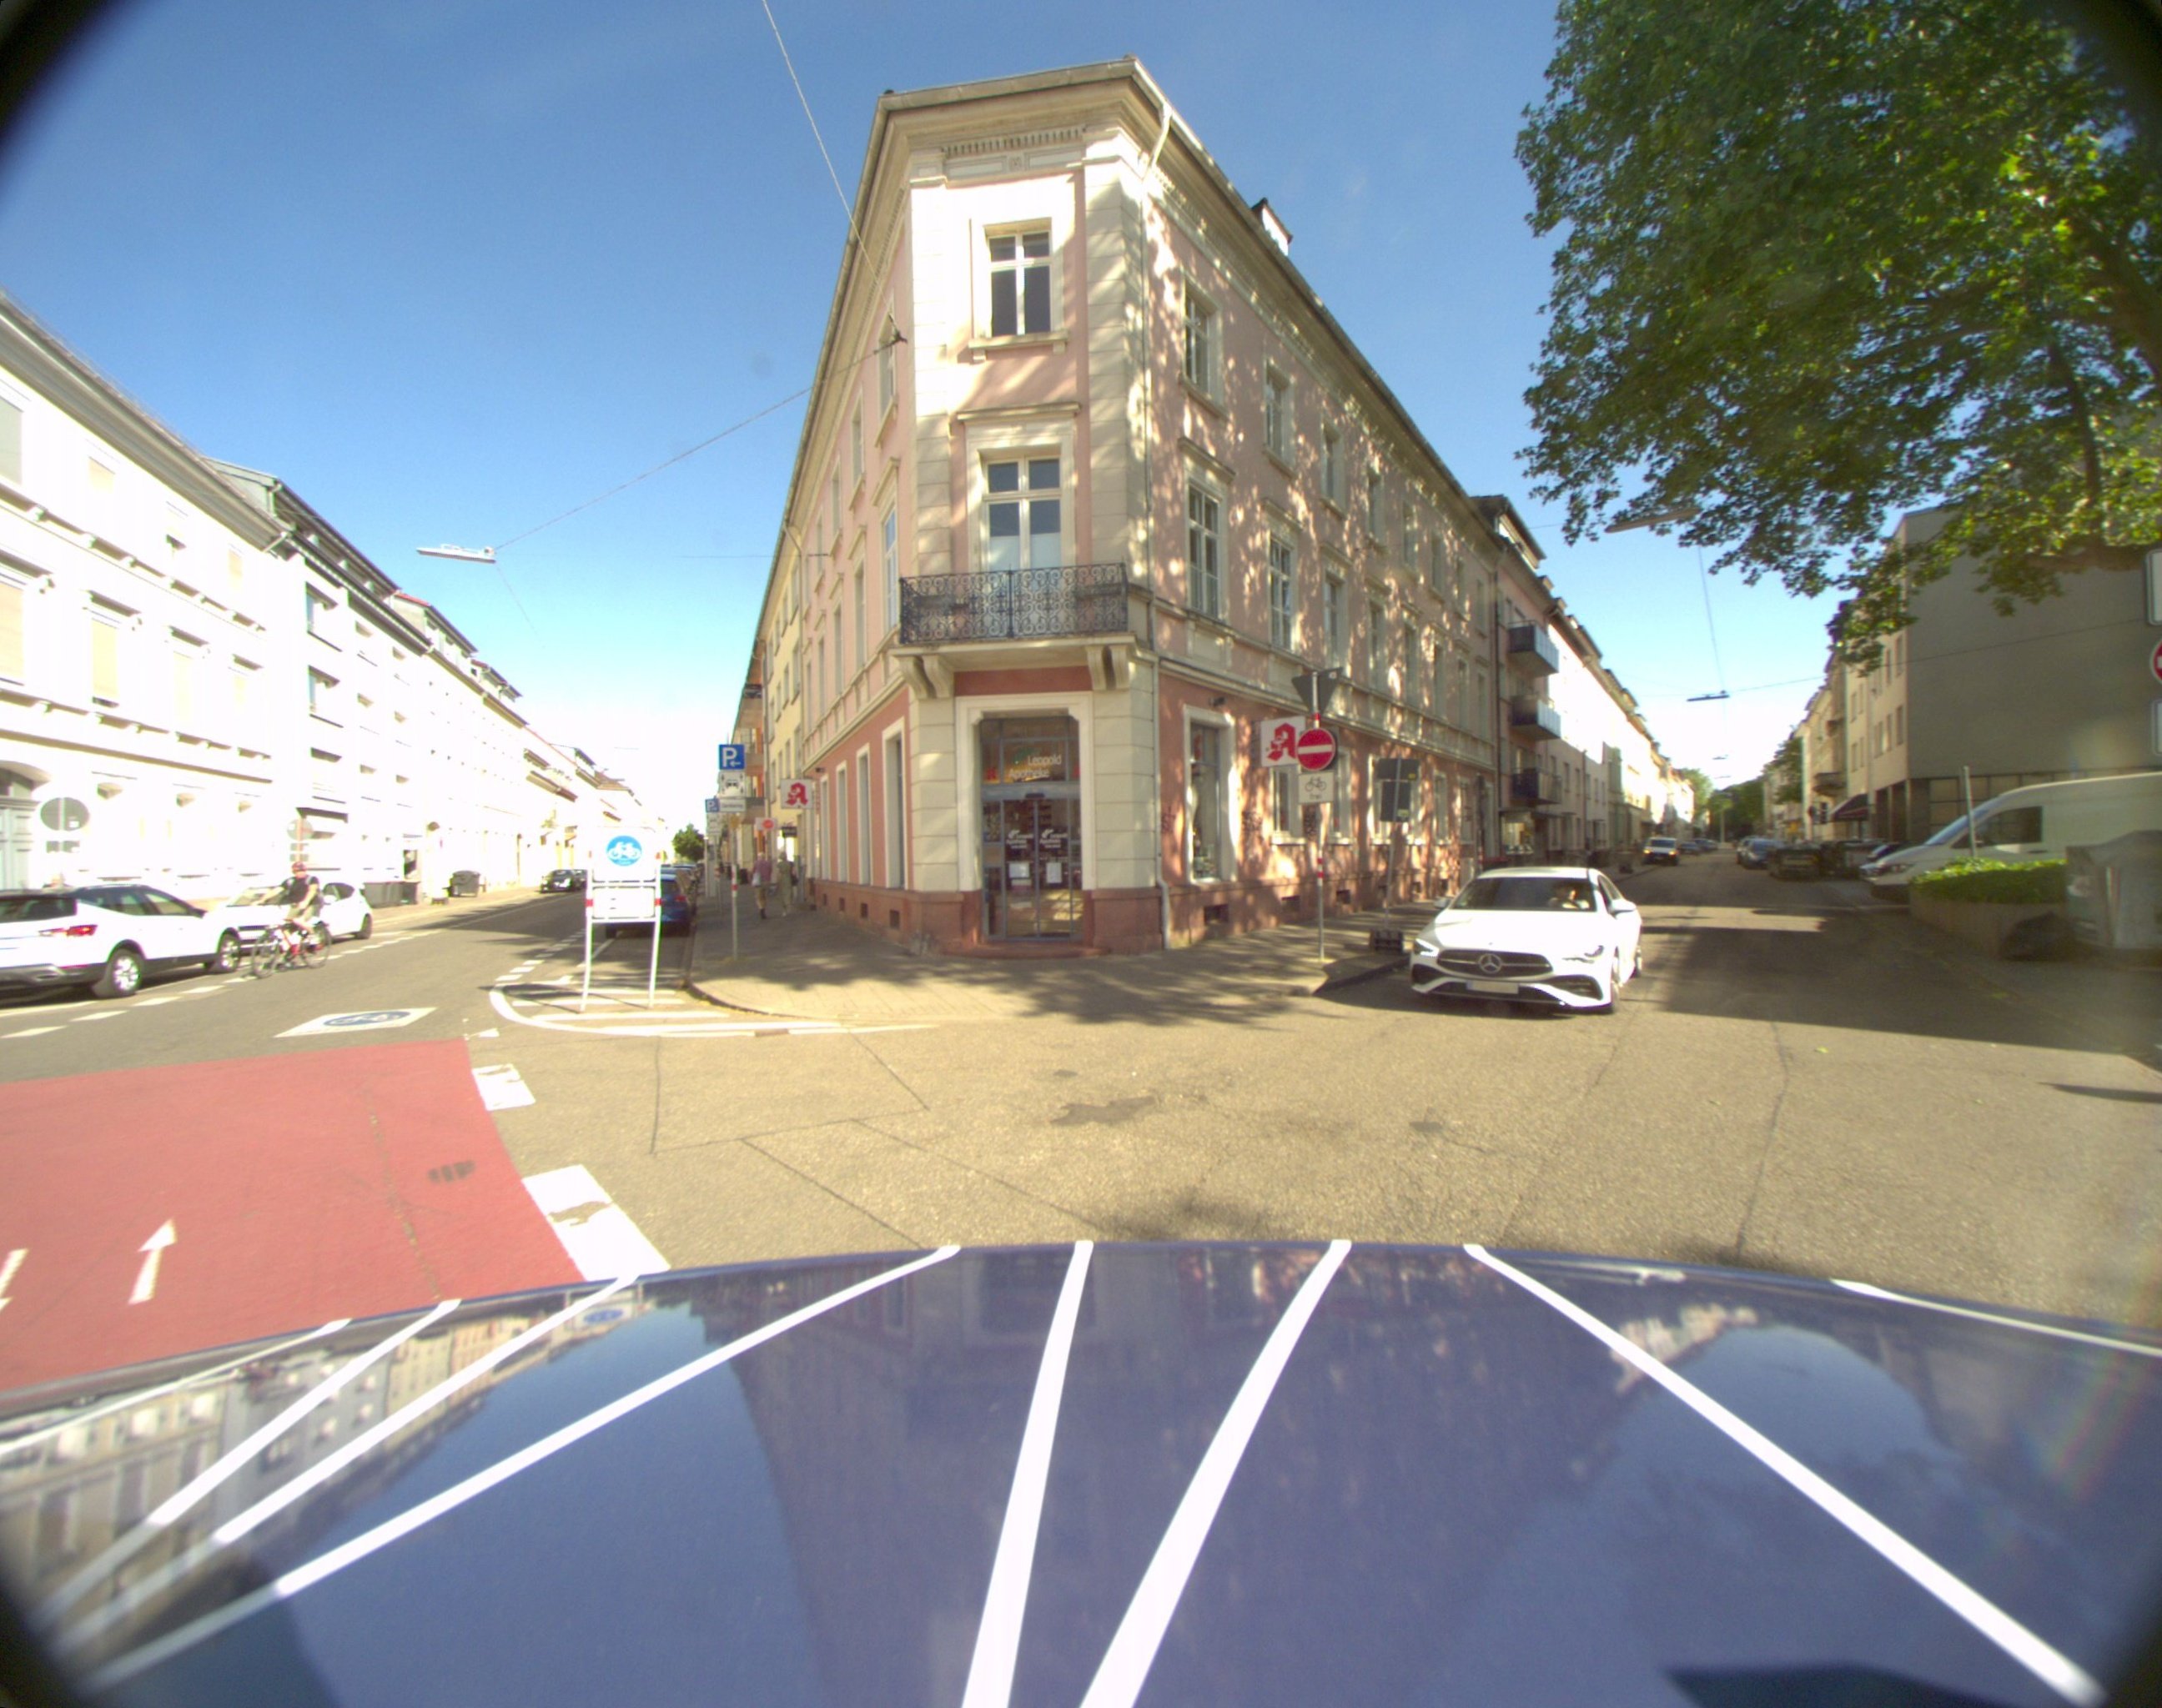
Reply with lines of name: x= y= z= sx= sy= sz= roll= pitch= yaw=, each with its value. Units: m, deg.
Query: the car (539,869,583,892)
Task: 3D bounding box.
car: x=-32.062 y=1.581 z=46.910 sx=1.709 sy=1.292 sz=3.631 roll=-1 pitch=0 yaw=-26

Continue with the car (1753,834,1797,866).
car: x=38.659 y=-0.234 z=42.375 sx=1.761 sy=1.698 sz=4.336 roll=-1 pitch=0 yaw=42

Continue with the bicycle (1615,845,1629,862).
bicycle: x=35.268 y=-0.054 z=49.533 sx=0.489 sy=1.089 sz=1.936 roll=-1 pitch=1 yaw=42

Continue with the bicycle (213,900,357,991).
bicycle: x=-12.708 y=1.412 z=12.218 sx=0.673 sy=1.192 sz=1.923 roll=-2 pitch=0 yaw=-15

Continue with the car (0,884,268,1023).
car: x=-14.200 y=1.312 z=11.111 sx=1.648 sy=1.533 sz=4.373 roll=-3 pitch=1 yaw=-26

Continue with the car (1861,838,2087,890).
car: x=28.389 y=0.337 z=24.400 sx=4.406 sy=1.524 sz=1.702 roll=-1 pitch=0 yaw=35

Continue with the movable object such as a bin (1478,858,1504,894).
movable object such as a bin: x=12.875 y=0.691 z=23.848 sx=0.569 sy=1.078 sz=0.656 roll=3 pitch=3 yaw=40

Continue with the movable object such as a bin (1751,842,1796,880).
movable object such as a bin: x=28.599 y=0.292 z=31.412 sx=1.244 sy=1.492 sz=1.929 roll=-1 pitch=1 yaw=39

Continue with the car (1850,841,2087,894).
car: x=26.586 y=0.418 z=23.019 sx=4.406 sy=1.454 sz=1.603 roll=-1 pitch=-1 yaw=35

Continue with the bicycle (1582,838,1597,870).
bicycle: x=28.332 y=-0.017 z=42.323 sx=0.401 sy=1.725 sz=2.111 roll=-1 pitch=1 yaw=42

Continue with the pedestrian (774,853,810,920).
pedestrian: x=-7.713 y=0.848 z=20.314 sx=0.831 sy=1.754 sz=0.751 roll=-1 pitch=1 yaw=-18

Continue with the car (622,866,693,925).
car: x=-12.772 y=1.192 z=23.079 sx=1.710 sy=1.528 sz=3.630 roll=1 pitch=0 yaw=-26

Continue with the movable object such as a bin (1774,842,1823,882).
movable object such as a bin: x=28.135 y=0.316 z=29.833 sx=1.238 sy=1.492 sz=1.881 roll=-1 pitch=1 yaw=39

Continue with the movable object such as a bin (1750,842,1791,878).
movable object such as a bin: x=29.725 y=0.264 z=32.782 sx=1.219 sy=1.492 sz=1.563 roll=-1 pitch=1 yaw=39

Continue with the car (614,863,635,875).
car: x=-51.578 y=1.715 z=85.814 sx=1.709 sy=1.292 sz=3.631 roll=-1 pitch=0 yaw=-26

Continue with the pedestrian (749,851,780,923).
pedestrian: x=-8.362 y=0.853 z=20.097 sx=0.571 sy=1.846 sz=0.705 roll=-4 pitch=2 yaw=-19

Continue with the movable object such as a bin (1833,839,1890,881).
movable object such as a bin: x=29.051 y=0.227 z=28.315 sx=1.325 sy=1.492 sz=1.197 roll=-1 pitch=1 yaw=39

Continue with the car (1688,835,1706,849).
car: x=82.217 y=-1.604 z=101.389 sx=1.761 sy=1.698 sz=4.336 roll=-1 pitch=0 yaw=41

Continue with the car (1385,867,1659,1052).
car: x=5.332 y=0.951 z=8.848 sx=1.858 sy=1.448 sz=4.572 roll=-1 pitch=0 yaw=42

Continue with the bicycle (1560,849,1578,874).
bicycle: x=23.468 y=0.345 z=36.557 sx=0.401 sy=1.144 sz=2.029 roll=-1 pitch=1 yaw=42

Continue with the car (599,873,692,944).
car: x=-10.466 y=1.236 z=18.465 sx=1.710 sy=1.425 sz=3.630 roll=1 pitch=0 yaw=-26

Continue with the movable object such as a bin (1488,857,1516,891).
movable object such as a bin: x=14.393 y=0.674 z=25.972 sx=0.716 sy=1.078 sz=0.620 roll=3 pitch=3 yaw=40

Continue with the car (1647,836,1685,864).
car: x=40.803 y=-0.288 z=52.973 sx=1.761 sy=1.843 sz=4.336 roll=-1 pitch=0 yaw=42

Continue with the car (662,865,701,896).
car: x=-20.562 y=1.334 z=39.207 sx=1.710 sy=1.425 sz=3.630 roll=1 pitch=0 yaw=-26

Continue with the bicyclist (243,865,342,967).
bicyclist: x=-12.719 y=0.968 z=12.299 sx=0.639 sy=1.538 sz=1.023 roll=-2 pitch=1 yaw=-16

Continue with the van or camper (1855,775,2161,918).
van or camper: x=20.167 y=-0.153 z=14.780 sx=6.911 sy=2.558 sz=2.004 roll=-5 pitch=-3 yaw=42

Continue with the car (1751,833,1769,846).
car: x=91.717 y=-1.996 z=102.638 sx=1.761 sy=1.698 sz=4.336 roll=-1 pitch=0 yaw=41

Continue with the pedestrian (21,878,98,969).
pedestrian: x=-18.646 y=1.244 z=13.885 sx=0.585 sy=1.591 sz=0.638 roll=-2 pitch=1 yaw=-28

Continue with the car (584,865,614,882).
car: x=-40.242 y=1.589 z=63.523 sx=1.709 sy=1.292 sz=3.631 roll=-1 pitch=0 yaw=-26

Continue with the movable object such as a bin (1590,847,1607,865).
movable object such as a bin: x=30.149 y=0.130 z=44.266 sx=0.715 sy=0.997 sz=0.547 roll=3 pitch=3 yaw=40

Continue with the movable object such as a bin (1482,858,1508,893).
movable object such as a bin: x=13.252 y=0.681 z=24.321 sx=0.569 sy=1.053 sz=0.613 roll=3 pitch=3 yaw=40

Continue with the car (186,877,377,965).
car: x=-17.151 y=1.347 z=16.538 sx=1.634 sy=1.533 sz=3.631 roll=-3 pitch=1 yaw=-26

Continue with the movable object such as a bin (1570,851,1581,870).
movable object such as a bin: x=25.067 y=0.327 z=38.499 sx=0.415 sy=0.935 sz=0.302 roll=3 pitch=3 yaw=40

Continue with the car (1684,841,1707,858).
car: x=66.171 y=-0.483 z=81.834 sx=1.761 sy=1.698 sz=4.336 roll=-1 pitch=0 yaw=41

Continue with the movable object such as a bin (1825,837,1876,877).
movable object such as a bin: x=29.836 y=0.124 z=29.495 sx=1.219 sy=1.492 sz=1.520 roll=-1 pitch=1 yaw=39

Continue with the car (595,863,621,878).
car: x=-43.925 y=1.491 z=70.658 sx=1.709 sy=1.292 sz=3.631 roll=-1 pitch=0 yaw=-26

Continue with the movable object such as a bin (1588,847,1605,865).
movable object such as a bin: x=29.711 y=0.123 z=43.818 sx=0.715 sy=0.997 sz=0.547 roll=3 pitch=3 yaw=40

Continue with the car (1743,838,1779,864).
car: x=45.987 y=-0.225 z=51.394 sx=1.761 sy=1.698 sz=4.336 roll=-1 pitch=0 yaw=42
